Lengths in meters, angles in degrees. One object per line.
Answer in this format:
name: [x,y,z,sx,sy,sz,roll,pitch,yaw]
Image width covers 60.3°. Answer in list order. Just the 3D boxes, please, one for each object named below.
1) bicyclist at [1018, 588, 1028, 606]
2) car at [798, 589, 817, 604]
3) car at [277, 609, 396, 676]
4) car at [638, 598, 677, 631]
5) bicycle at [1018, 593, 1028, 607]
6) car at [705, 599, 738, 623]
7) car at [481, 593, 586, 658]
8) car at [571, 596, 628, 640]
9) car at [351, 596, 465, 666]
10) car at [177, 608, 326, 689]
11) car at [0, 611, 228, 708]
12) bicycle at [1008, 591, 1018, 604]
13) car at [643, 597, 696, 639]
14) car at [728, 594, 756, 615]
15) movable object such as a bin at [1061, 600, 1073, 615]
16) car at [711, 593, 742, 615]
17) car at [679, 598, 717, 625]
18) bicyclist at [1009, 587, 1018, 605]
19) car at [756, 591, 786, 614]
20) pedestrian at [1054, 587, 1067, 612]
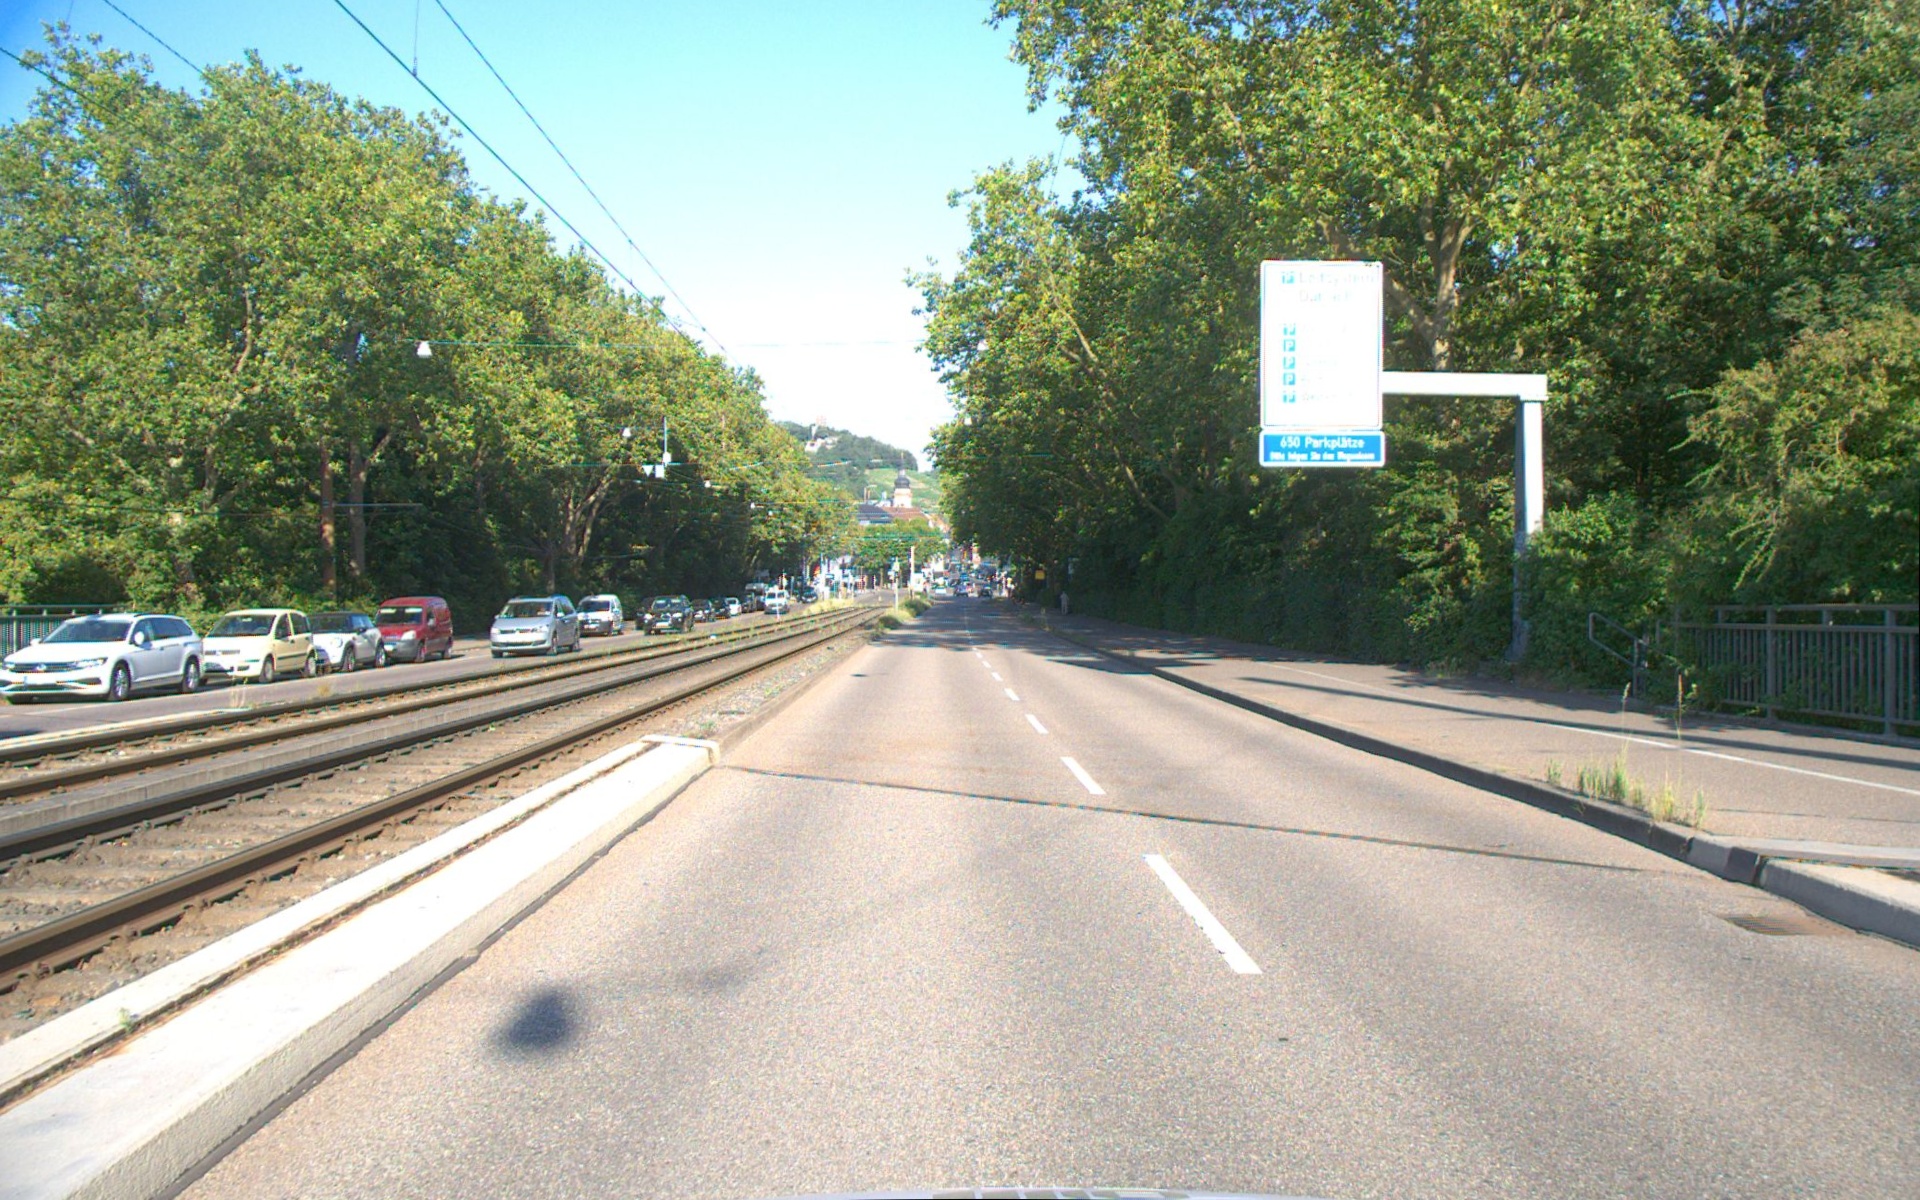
bicyclist: [5.944,-0.301,156.859,0.869,1.667,1.164,-1,0,-1]
car: [-18.293,-0.409,198.727,1.953,1.726,4.742,-1,0,-2]
car: [-15.229,1.008,40.595,1.601,1.476,4.000,0,1,-3]
car: [-16.286,0.756,89.268,1.708,1.665,3.995,-1,1,-6]
bicycle: [5.950,0.008,156.761,0.869,1.344,2.639,-1,0,0]
car: [-17.573,0.790,122.070,1.953,1.726,4.742,-1,0,-2]
car: [-12.344,0.707,48.134,1.835,1.694,4.596,-2,1,-1]
car: [-16.098,0.772,74.075,1.707,1.773,4.511,-4,1,-3]
car: [-15.265,0.805,45.975,1.706,1.784,4.683,0,1,-2]
car: [-15.005,0.992,35.221,1.600,1.558,3.789,0,1,-1]
car: [-14.874,0.982,29.356,1.706,1.489,4.954,0,1,-2]
bicycle: [5.553,-0.226,172.167,0.869,1.344,2.639,-1,0,-1]
car: [-12.821,0.764,73.250,1.707,1.651,4.392,-2,1,-3]
car: [-19.132,0.371,145.287,1.953,1.726,4.742,-1,0,-2]
movable object such as a bin: [6.958,0.511,107.609,0.787,0.964,0.656,-1,0,3]
car: [-18.816,0.307,133.372,1.953,1.726,4.742,-1,0,-2]
car: [-17.245,0.736,109.038,1.953,1.726,4.742,-1,0,-2]
bicyclist: [5.529,-0.408,172.488,0.869,1.805,1.222,-1,0,-1]
car: [-15.401,0.190,135.112,1.953,1.876,5.300,-1,0,-2]
pedestrian: [6.585,-0.029,108.430,0.787,1.573,0.814,-1,0,3]
